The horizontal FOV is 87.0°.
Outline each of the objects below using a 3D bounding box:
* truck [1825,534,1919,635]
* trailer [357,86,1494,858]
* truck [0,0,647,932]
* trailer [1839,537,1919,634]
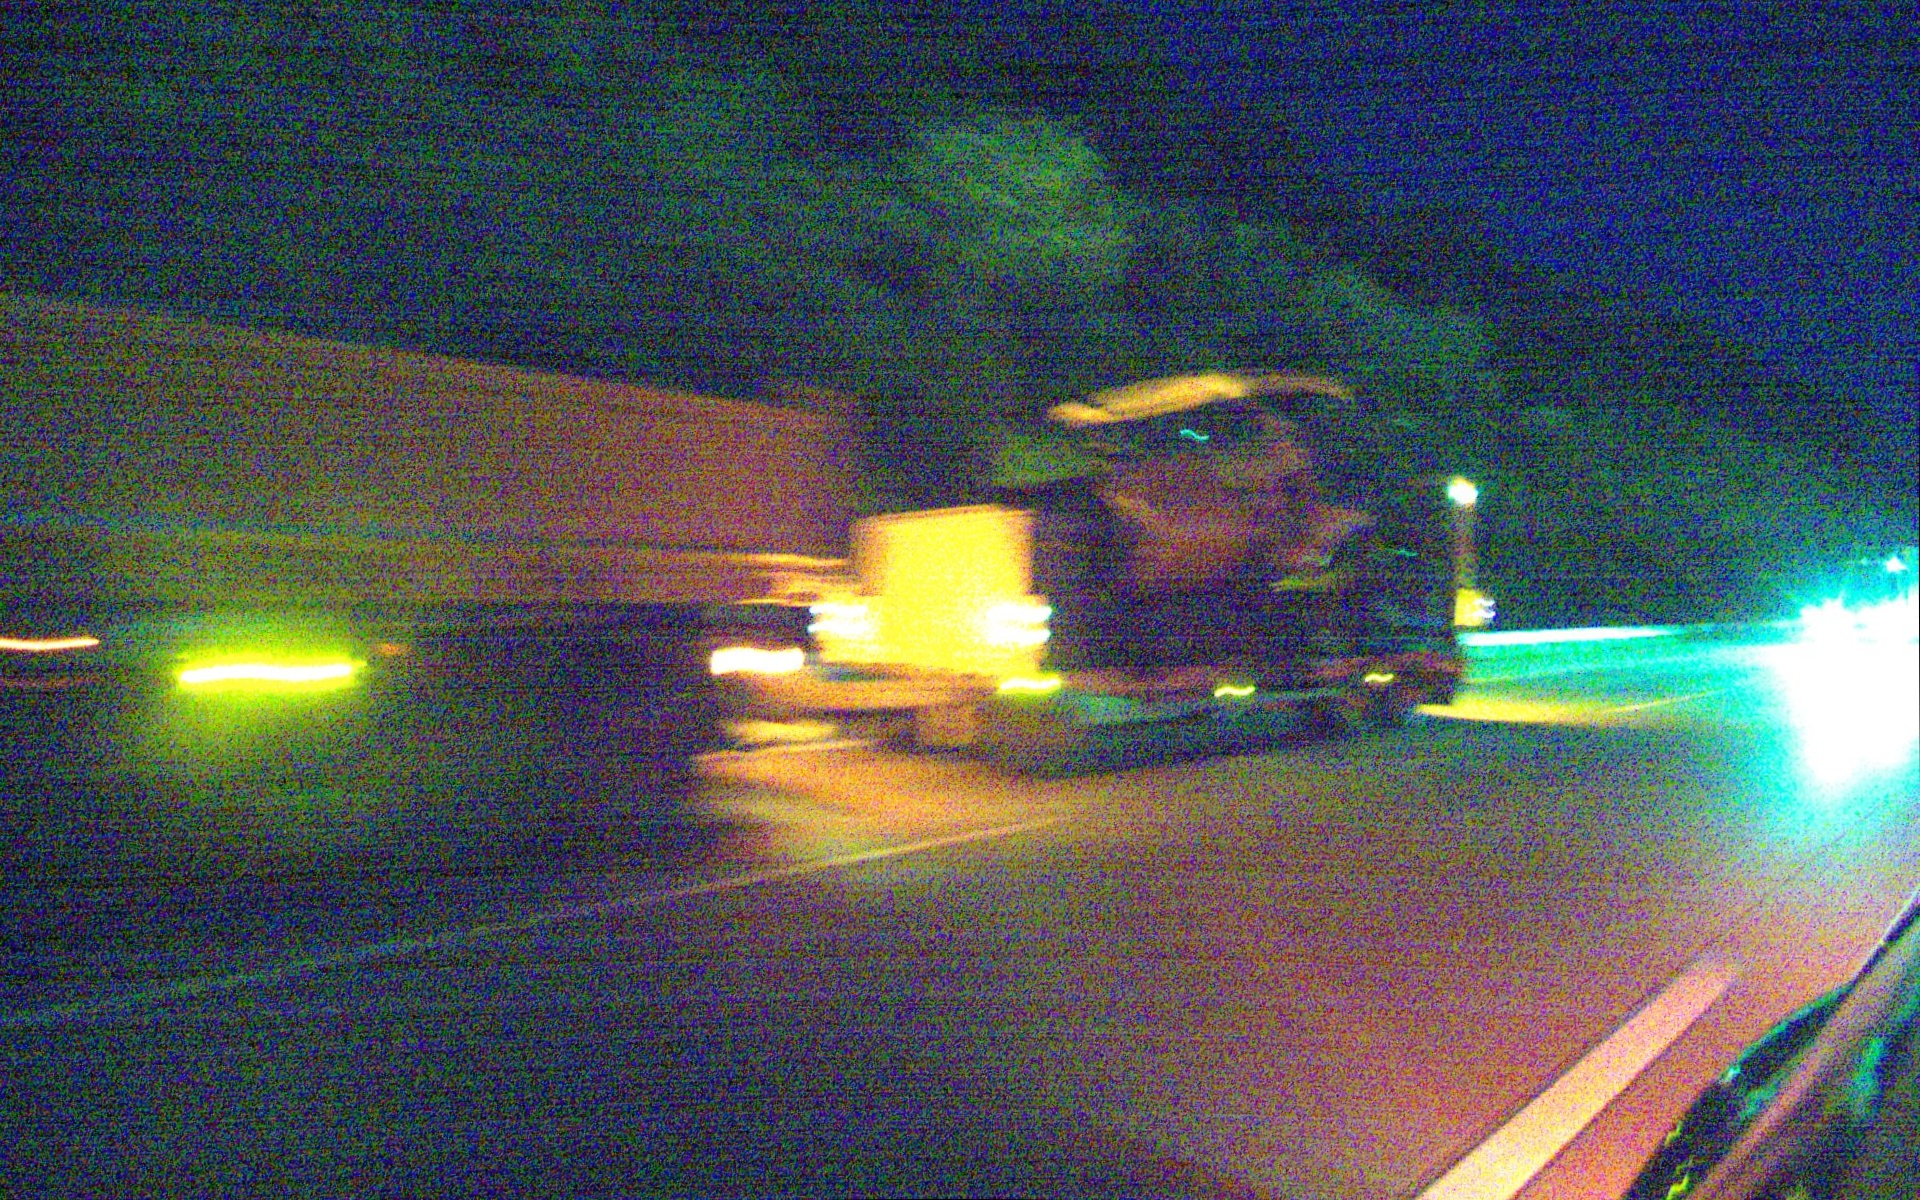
[{"bbox_3d":[38.653,-0.622,42.481,3.928,4.022,2.899,1,0,-39],"label":"truck"},{"bbox_3d":[1.319,-0.764,10.423,12.660,3.981,2.880,-1,1,-40],"label":"trailer"},{"bbox_3d":[-5.758,-0.591,4.453,7.910,3.889,2.872,0,-1,-40],"label":"truck"},{"bbox_3d":[45.009,-0.629,47.846,15.483,4.025,2.838,0,0,-40],"label":"trailer"}]
